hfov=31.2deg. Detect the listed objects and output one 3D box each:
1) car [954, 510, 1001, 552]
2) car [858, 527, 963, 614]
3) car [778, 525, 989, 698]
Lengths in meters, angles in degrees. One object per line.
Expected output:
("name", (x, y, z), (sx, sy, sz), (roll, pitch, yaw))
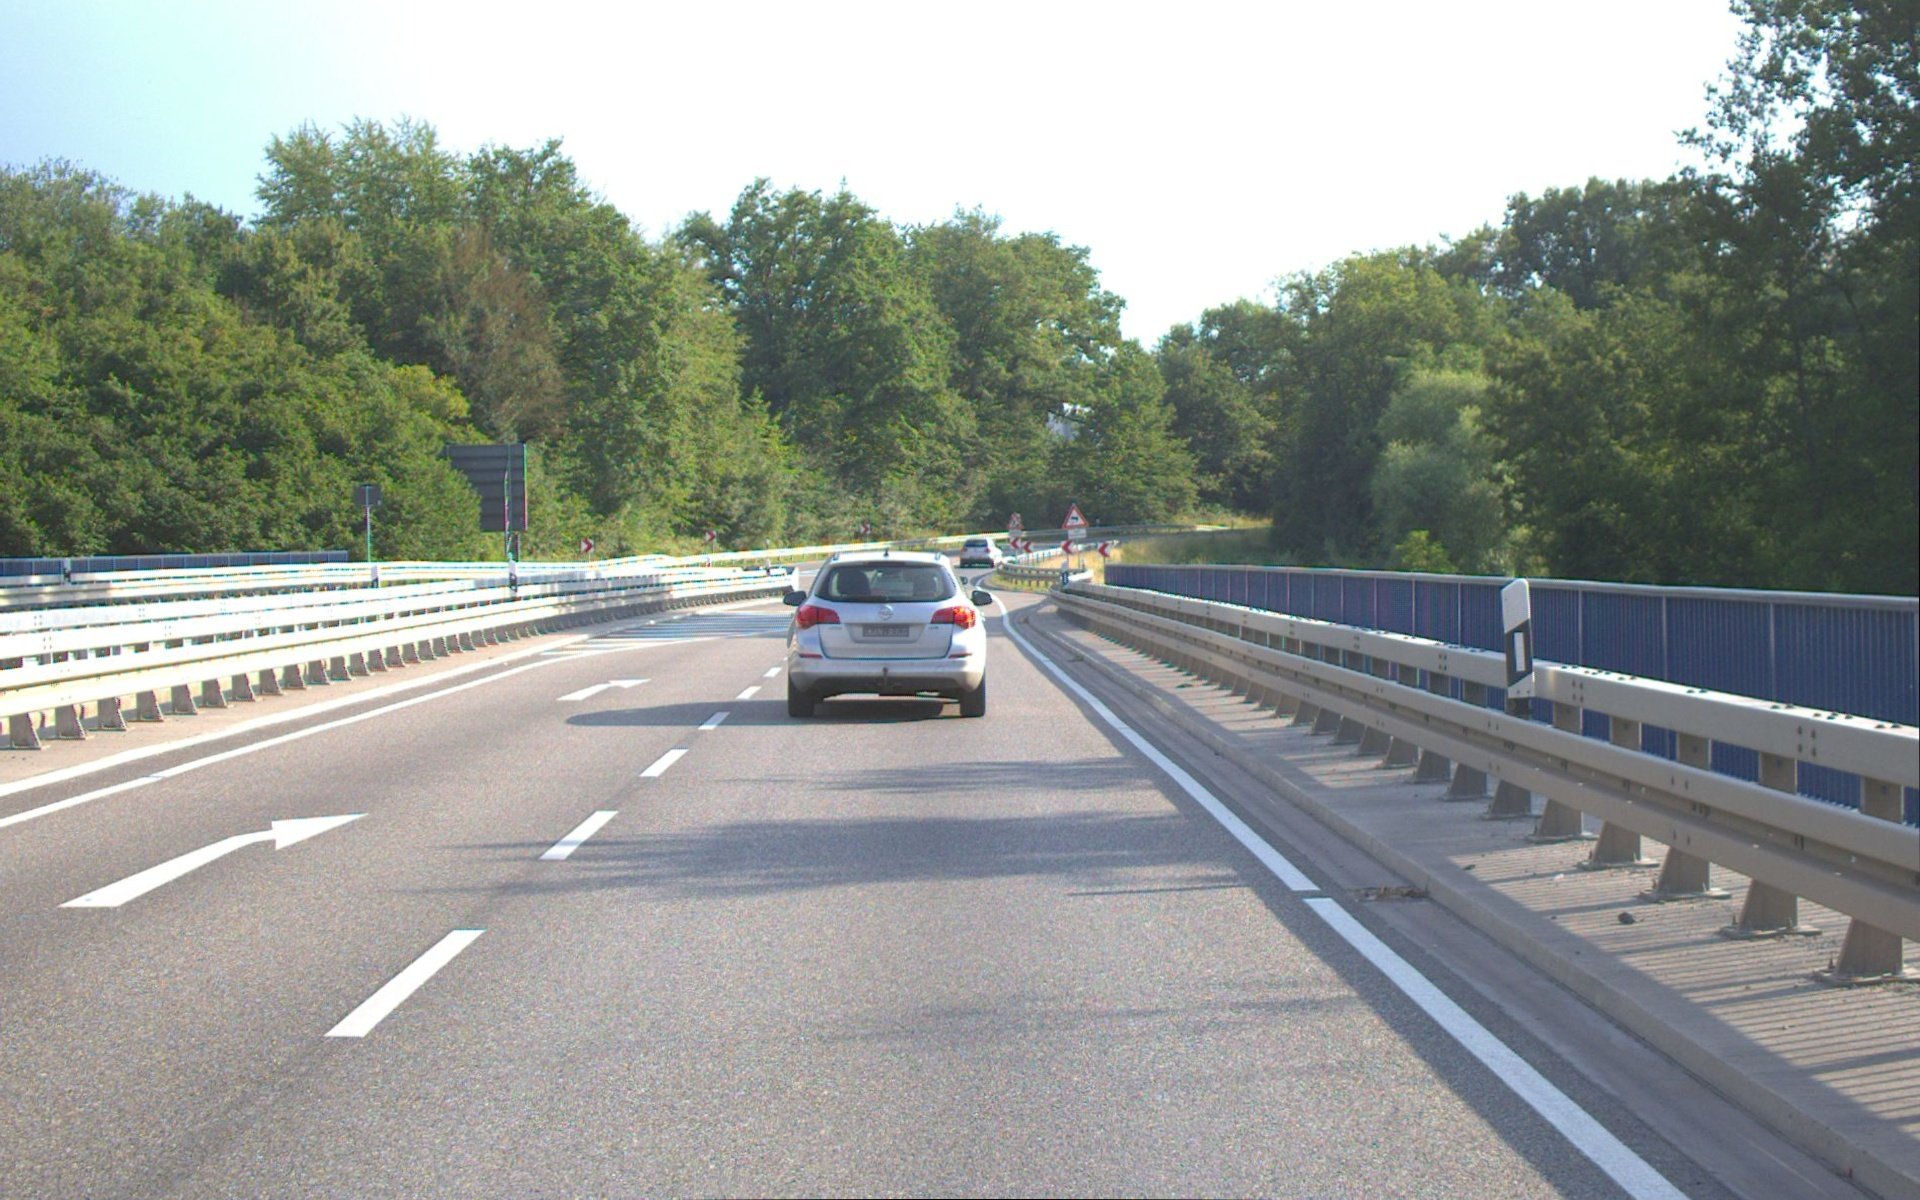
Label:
("car", (0.859, -3.446, 171.506), (1.993, 2.007, 4.001), (1, 0, -4))
("car", (-0.900, -0.517, 61.632), (1.809, 1.481, 4.000), (1, 0, -1))
("car", (-0.710, 0.091, 31.881), (1.809, 1.481, 4.000), (1, 0, -1))
